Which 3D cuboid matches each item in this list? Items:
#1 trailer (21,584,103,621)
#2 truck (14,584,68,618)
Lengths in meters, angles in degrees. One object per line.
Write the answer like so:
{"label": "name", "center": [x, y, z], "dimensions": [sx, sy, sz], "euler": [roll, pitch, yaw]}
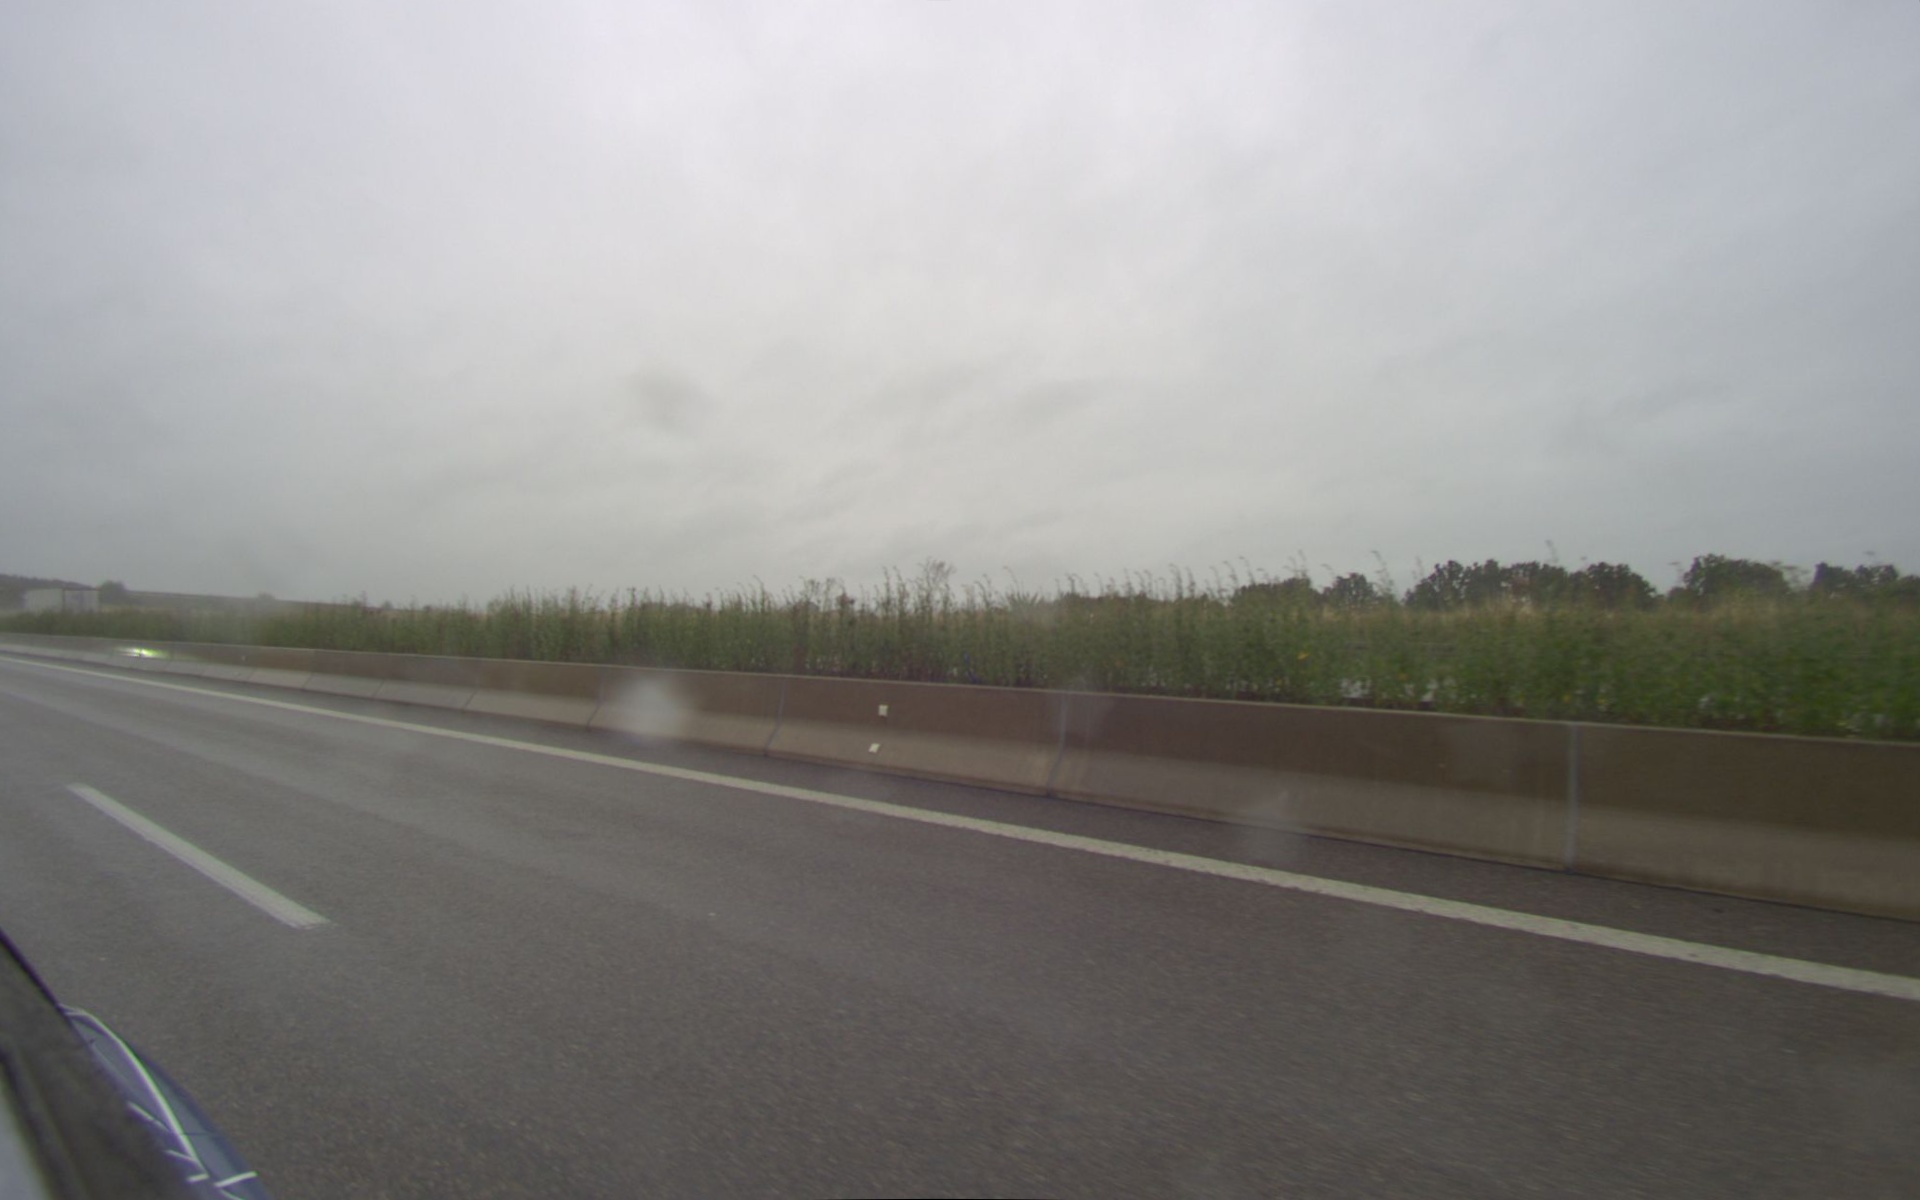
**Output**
{"label": "trailer", "center": [-82.149, 0.115, 92.401], "dimensions": [15.702, 3.168, 2.959], "euler": [1, 0, 39]}
{"label": "truck", "center": [-88.360, 0.075, 97.327], "dimensions": [5.588, 3.147, 2.964], "euler": [1, 0, 38]}
